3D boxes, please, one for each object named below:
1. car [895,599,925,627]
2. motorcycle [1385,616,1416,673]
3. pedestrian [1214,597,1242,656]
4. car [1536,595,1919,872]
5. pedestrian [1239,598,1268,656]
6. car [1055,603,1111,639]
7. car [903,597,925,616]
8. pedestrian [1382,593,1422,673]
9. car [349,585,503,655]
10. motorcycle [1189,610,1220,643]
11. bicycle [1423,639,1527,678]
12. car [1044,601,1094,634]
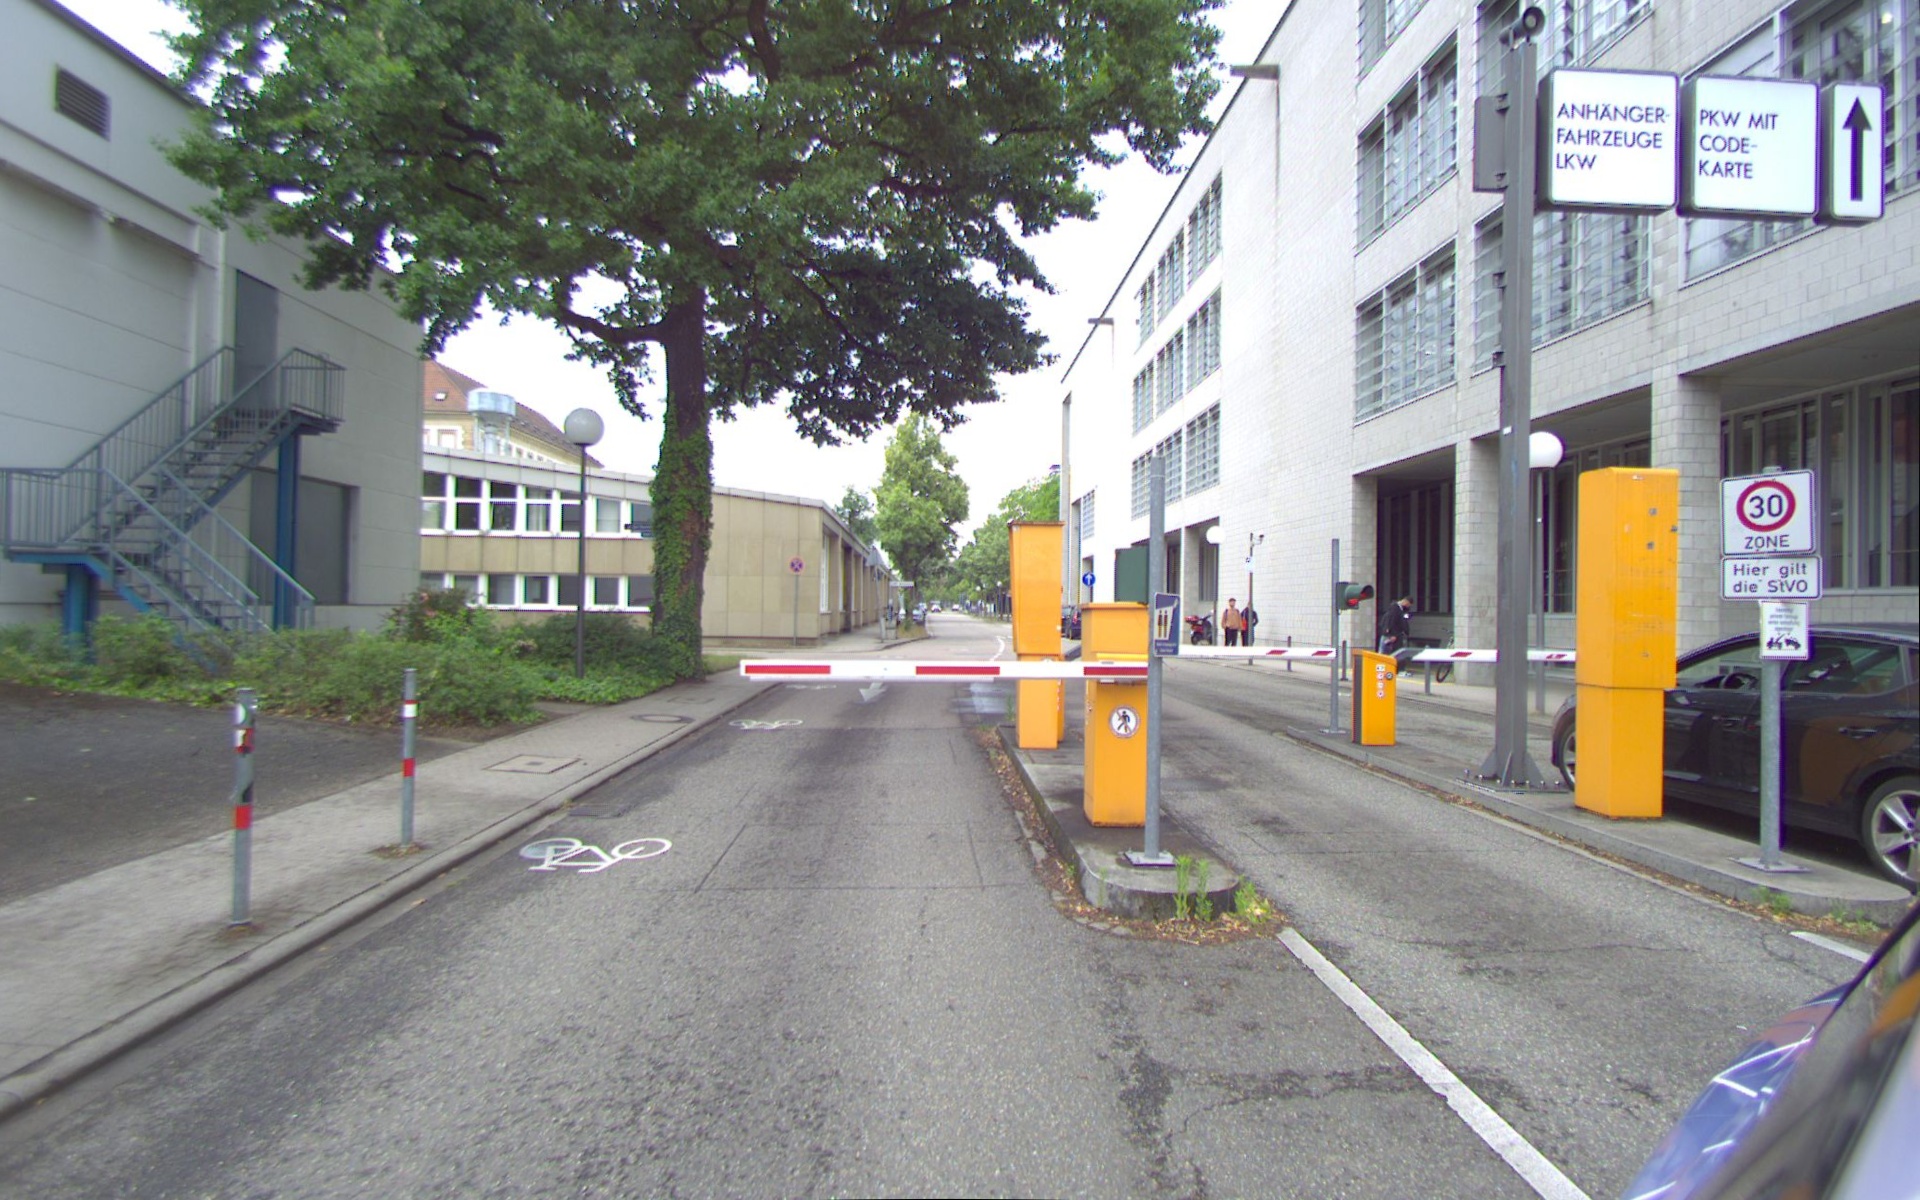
[{"bbox_3d":[-3.017,0.774,60.868,1.741,1.621,4.002,1,0,-3],"label":"car"},{"bbox_3d":[10.266,1.004,23.631,0.561,1.162,2.200,2,2,22],"label":"motorcycle"},{"bbox_3d":[7.991,0.788,30.186,0.686,1.736,0.489,1,-1,3],"label":"pedestrian"},{"bbox_3d":[5.820,0.713,6.463,1.753,1.437,4.131,1,0,-3],"label":"car"},{"bbox_3d":[8.794,0.806,30.359,0.685,1.736,0.489,1,-1,-4],"label":"pedestrian"},{"bbox_3d":[5.893,1.008,49.020,1.961,1.643,4.429,0,-1,-3],"label":"car"},{"bbox_3d":[-4.072,0.586,89.155,1.741,1.621,4.003,1,0,-4],"label":"car"},{"bbox_3d":[9.707,0.708,22.224,0.601,1.736,0.575,0,-1,-3],"label":"pedestrian"},{"bbox_3d":[-13.132,0.464,25.181,1.832,1.549,4.002,1,0,-2],"label":"car"},{"bbox_3d":[9.721,1.025,40.217,0.753,1.162,2.643,2,2,22],"label":"motorcycle"},{"bbox_3d":[10.393,1.182,20.453,1.865,0.707,0.493,2,2,-5],"label":"bicycle"},{"bbox_3d":[5.727,0.875,53.638,1.961,1.643,4.429,-1,0,-2],"label":"car"}]
